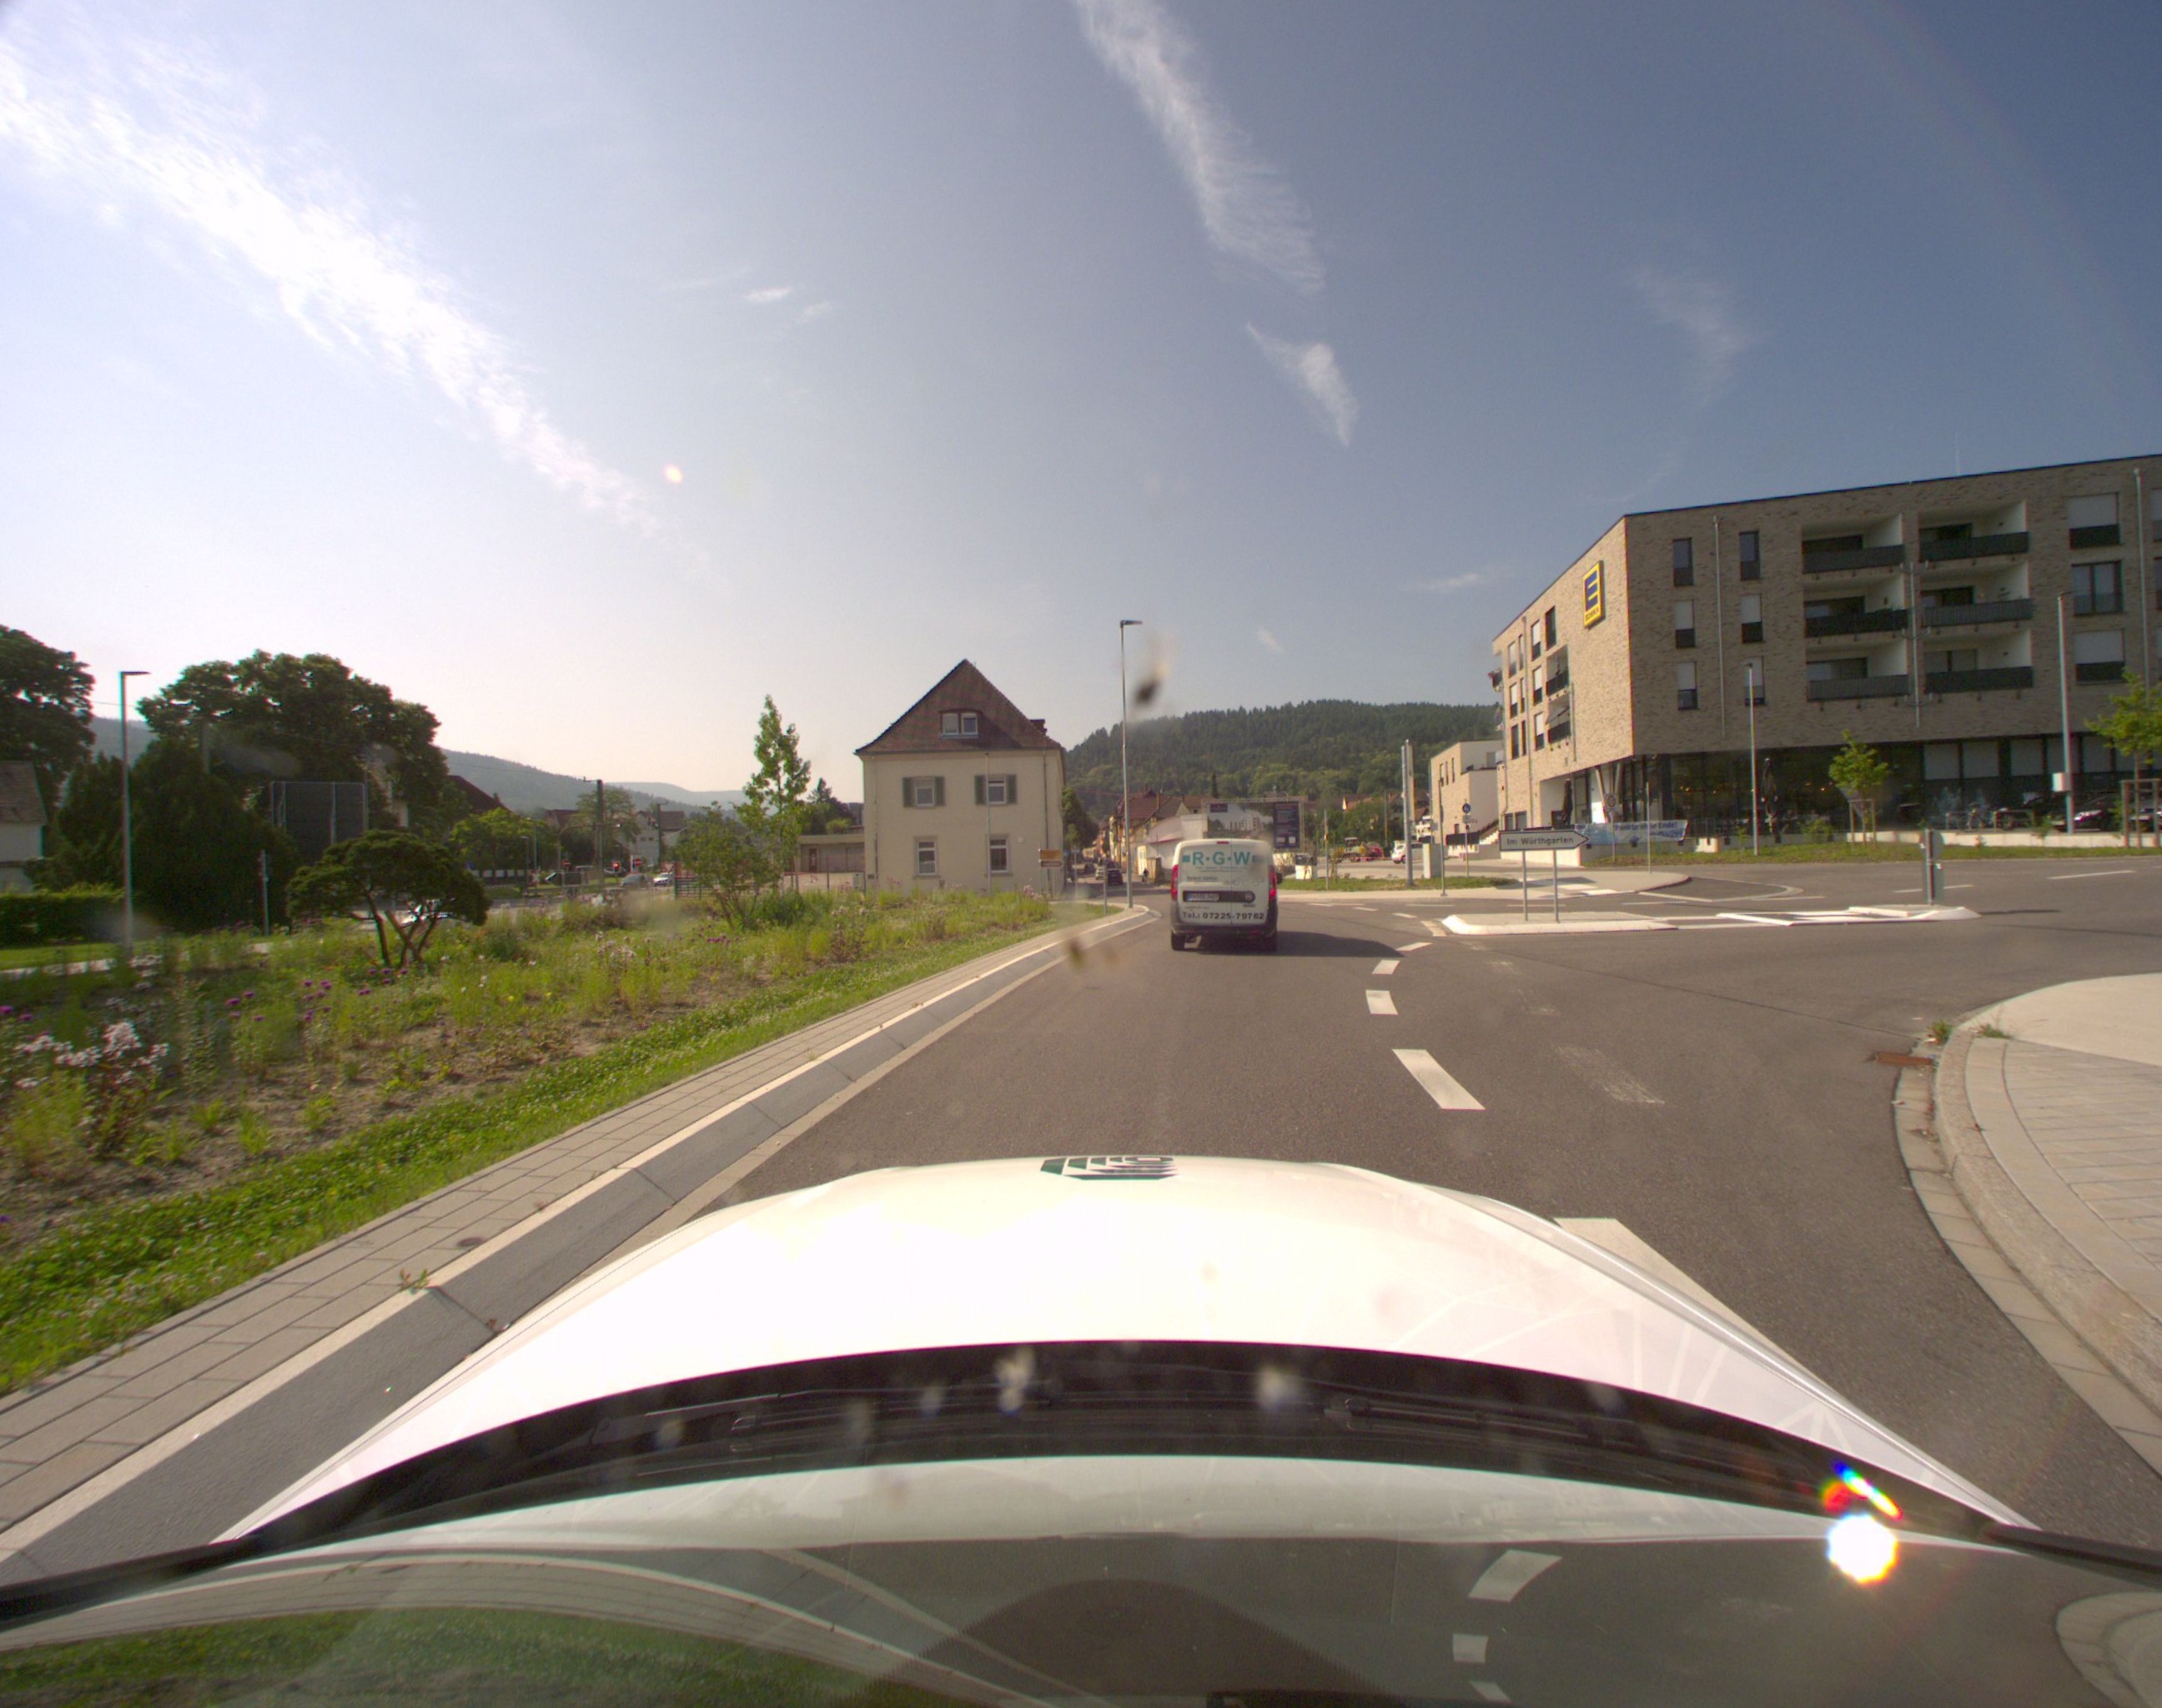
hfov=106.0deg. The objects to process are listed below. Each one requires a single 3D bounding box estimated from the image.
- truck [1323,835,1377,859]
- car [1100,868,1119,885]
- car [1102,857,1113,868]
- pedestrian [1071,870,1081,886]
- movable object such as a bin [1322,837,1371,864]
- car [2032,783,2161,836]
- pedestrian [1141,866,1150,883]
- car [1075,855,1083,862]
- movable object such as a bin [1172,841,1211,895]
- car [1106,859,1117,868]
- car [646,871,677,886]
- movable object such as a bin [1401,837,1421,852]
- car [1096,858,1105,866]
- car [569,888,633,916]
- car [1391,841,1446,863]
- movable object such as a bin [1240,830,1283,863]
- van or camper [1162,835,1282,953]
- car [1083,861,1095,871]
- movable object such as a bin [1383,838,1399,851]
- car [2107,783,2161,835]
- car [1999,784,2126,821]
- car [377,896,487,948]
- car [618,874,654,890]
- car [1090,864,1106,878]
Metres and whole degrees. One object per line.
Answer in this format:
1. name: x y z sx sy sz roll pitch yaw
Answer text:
1. truck: 29.417 -0.741 89.146 5.266 2.266 2.232 -4 -1 24
2. car: 2.865 2.253 83.063 1.805 1.596 3.925 0 0 -1
3. car: 5.003 1.621 156.264 1.866 2.013 3.997 -1 0 -2
4. pedestrian: -0.495 2.396 81.793 0.955 1.631 0.757 -1 -1 -2
5. movable object such as a bin: 28.009 -0.391 85.863 4.570 2.569 1.936 -4 -1 24
6. car: 36.834 -1.601 28.494 4.416 1.555 1.864 -4 2 11
7. pedestrian: 6.577 2.111 83.473 0.886 1.683 0.718 0 -1 -1
8. car: -0.473 1.131 209.506 1.806 1.596 3.924 0 0 -2
9. movable object such as a bin: 8.274 1.021 61.665 2.285 3.854 7.804 0 -1 3
10. car: 5.468 1.721 146.144 1.805 1.596 3.925 0 0 -1
11. car: -43.278 2.508 84.157 1.708 1.397 3.987 0 1 -9
12. movable object such as a bin: 33.039 -0.961 81.543 1.571 1.464 1.323 0 0 9
13. car: 4.172 1.701 172.755 1.666 1.508 3.995 -3 0 -3
14. car: -28.555 2.830 48.454 3.948 1.397 1.725 1 1 33
15. car: 25.367 -0.142 61.202 3.396 1.495 1.593 -3 -2 -2
16. movable object such as a bin: 20.454 -0.878 91.862 2.822 3.621 5.772 1 1 34
17. van or camper: 2.695 0.663 14.937 1.815 1.844 4.203 -2 -1 13
18. car: 1.288 1.912 132.265 1.805 1.596 3.925 0 0 -1
19. movable object such as a bin: 32.085 -1.000 84.300 1.288 1.268 1.323 0 0 9
20. car: 35.631 -1.547 25.351 4.416 1.555 1.864 -4 2 11
21. car: 40.418 -2.075 33.650 1.478 1.350 3.340 0 1 8
22. car: -23.656 2.430 29.883 1.673 1.531 3.978 -3 0 -16
23. car: -41.700 2.607 76.336 1.708 1.397 3.987 0 1 -9
24. car: 2.103 2.058 99.705 1.805 1.596 3.925 0 0 -1
